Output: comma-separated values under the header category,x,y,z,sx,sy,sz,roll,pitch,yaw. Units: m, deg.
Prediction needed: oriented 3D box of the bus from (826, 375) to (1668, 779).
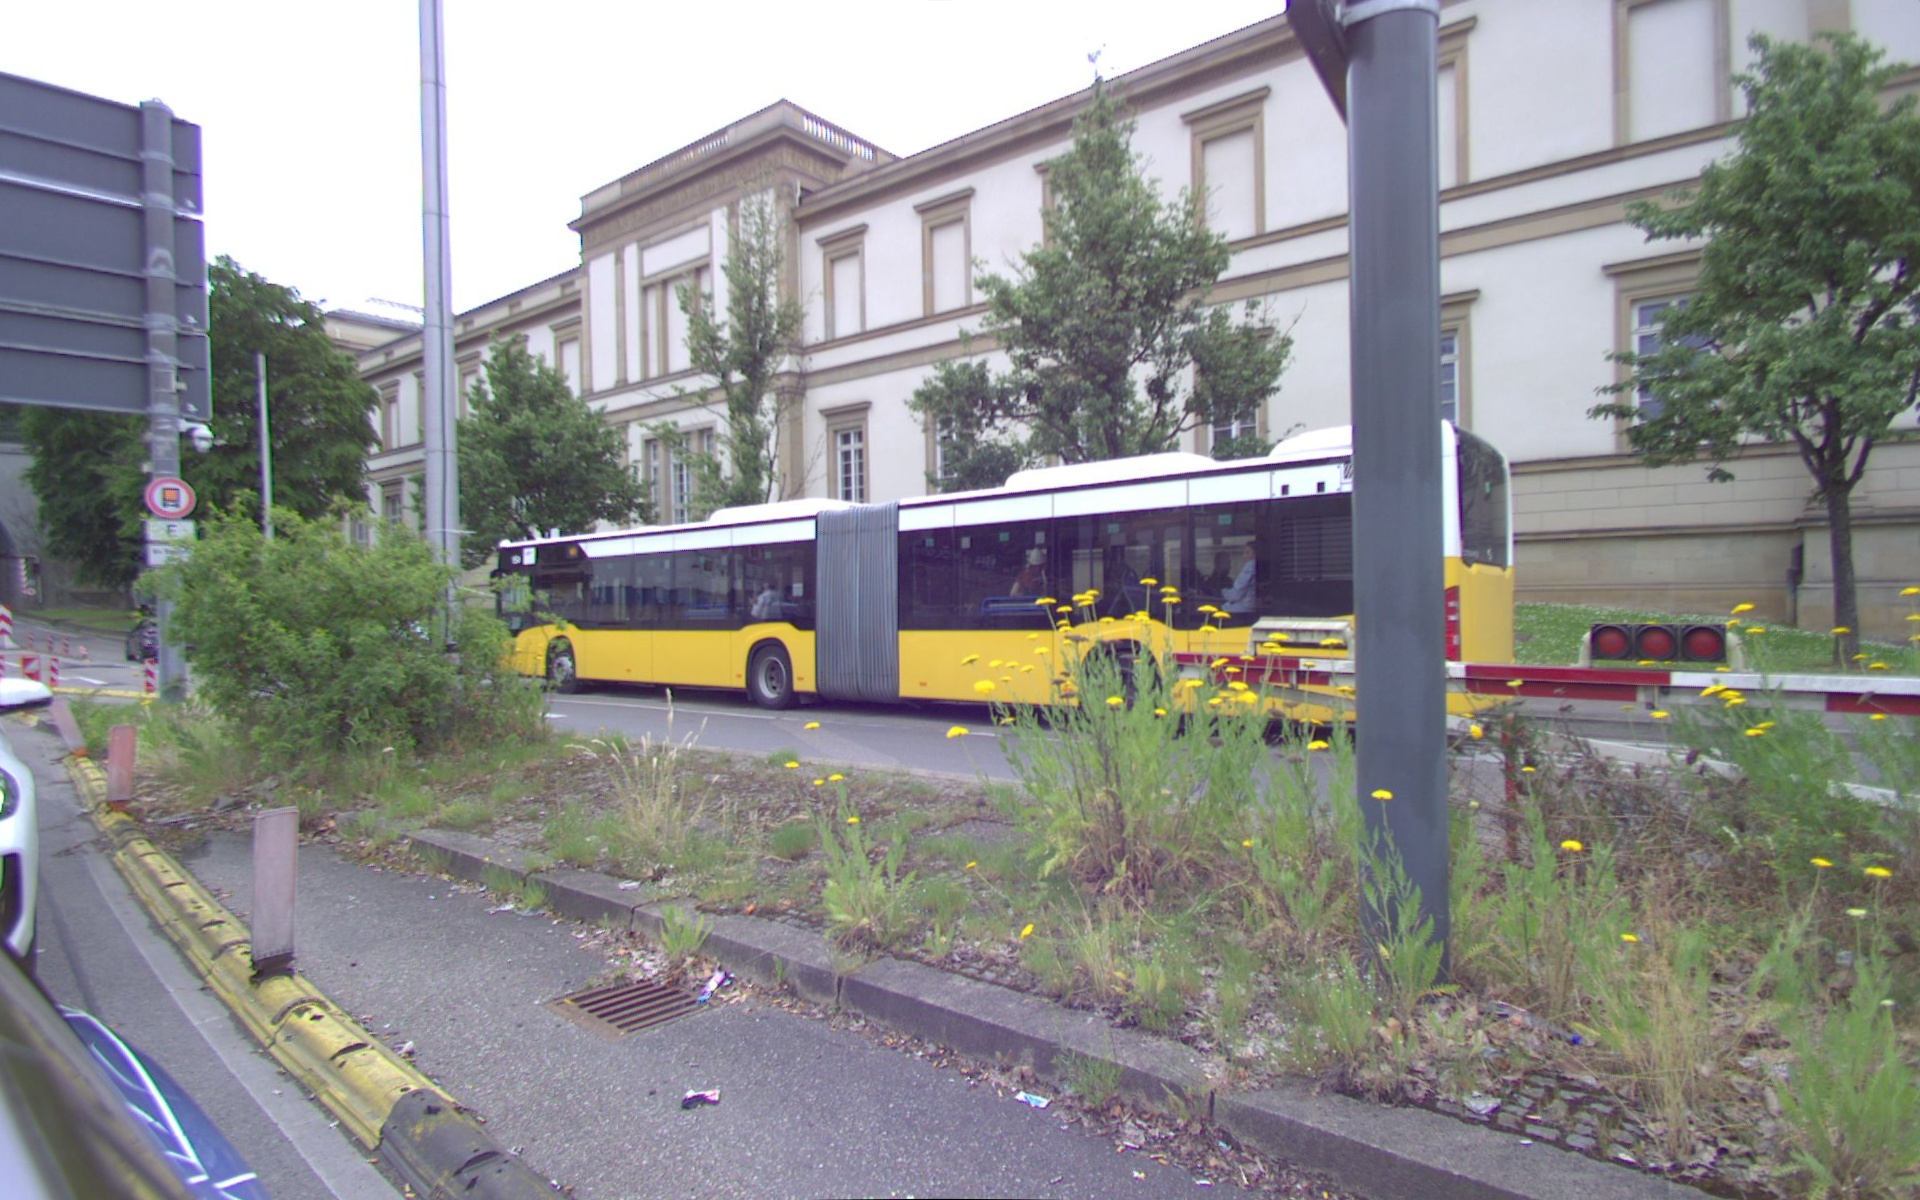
category,x,y,z,sx,sy,sz,roll,pitch,yaw
bus,2.604,-0.116,11.879,9.114,3.137,2.817,-1,0,40

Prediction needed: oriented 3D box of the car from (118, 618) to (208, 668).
category,x,y,z,sx,sy,sz,roll,pitch,yaw
car,-27.889,1.462,35.358,3.879,1.601,1.680,-1,0,40

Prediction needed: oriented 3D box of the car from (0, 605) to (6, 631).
category,x,y,z,sx,sy,sz,roll,pitch,yaw
car,-58.412,1.071,60.230,4.282,1.525,1.690,-1,-2,38

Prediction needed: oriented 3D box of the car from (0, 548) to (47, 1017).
category,x,y,z,sx,sy,sz,roll,pitch,yaw
car,-5.254,0.677,4.173,3.881,1.603,1.824,-2,0,42

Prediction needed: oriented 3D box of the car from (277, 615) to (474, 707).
category,x,y,z,sx,sy,sz,roll,pitch,yaw
car,-11.052,1.053,18.990,4.625,1.482,1.684,-1,0,40

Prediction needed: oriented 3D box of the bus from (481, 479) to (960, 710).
category,x,y,z,sx,sy,sz,roll,pitch,yaw
bus,-4.698,-0.005,17.888,9.737,3.137,2.818,-1,0,39
